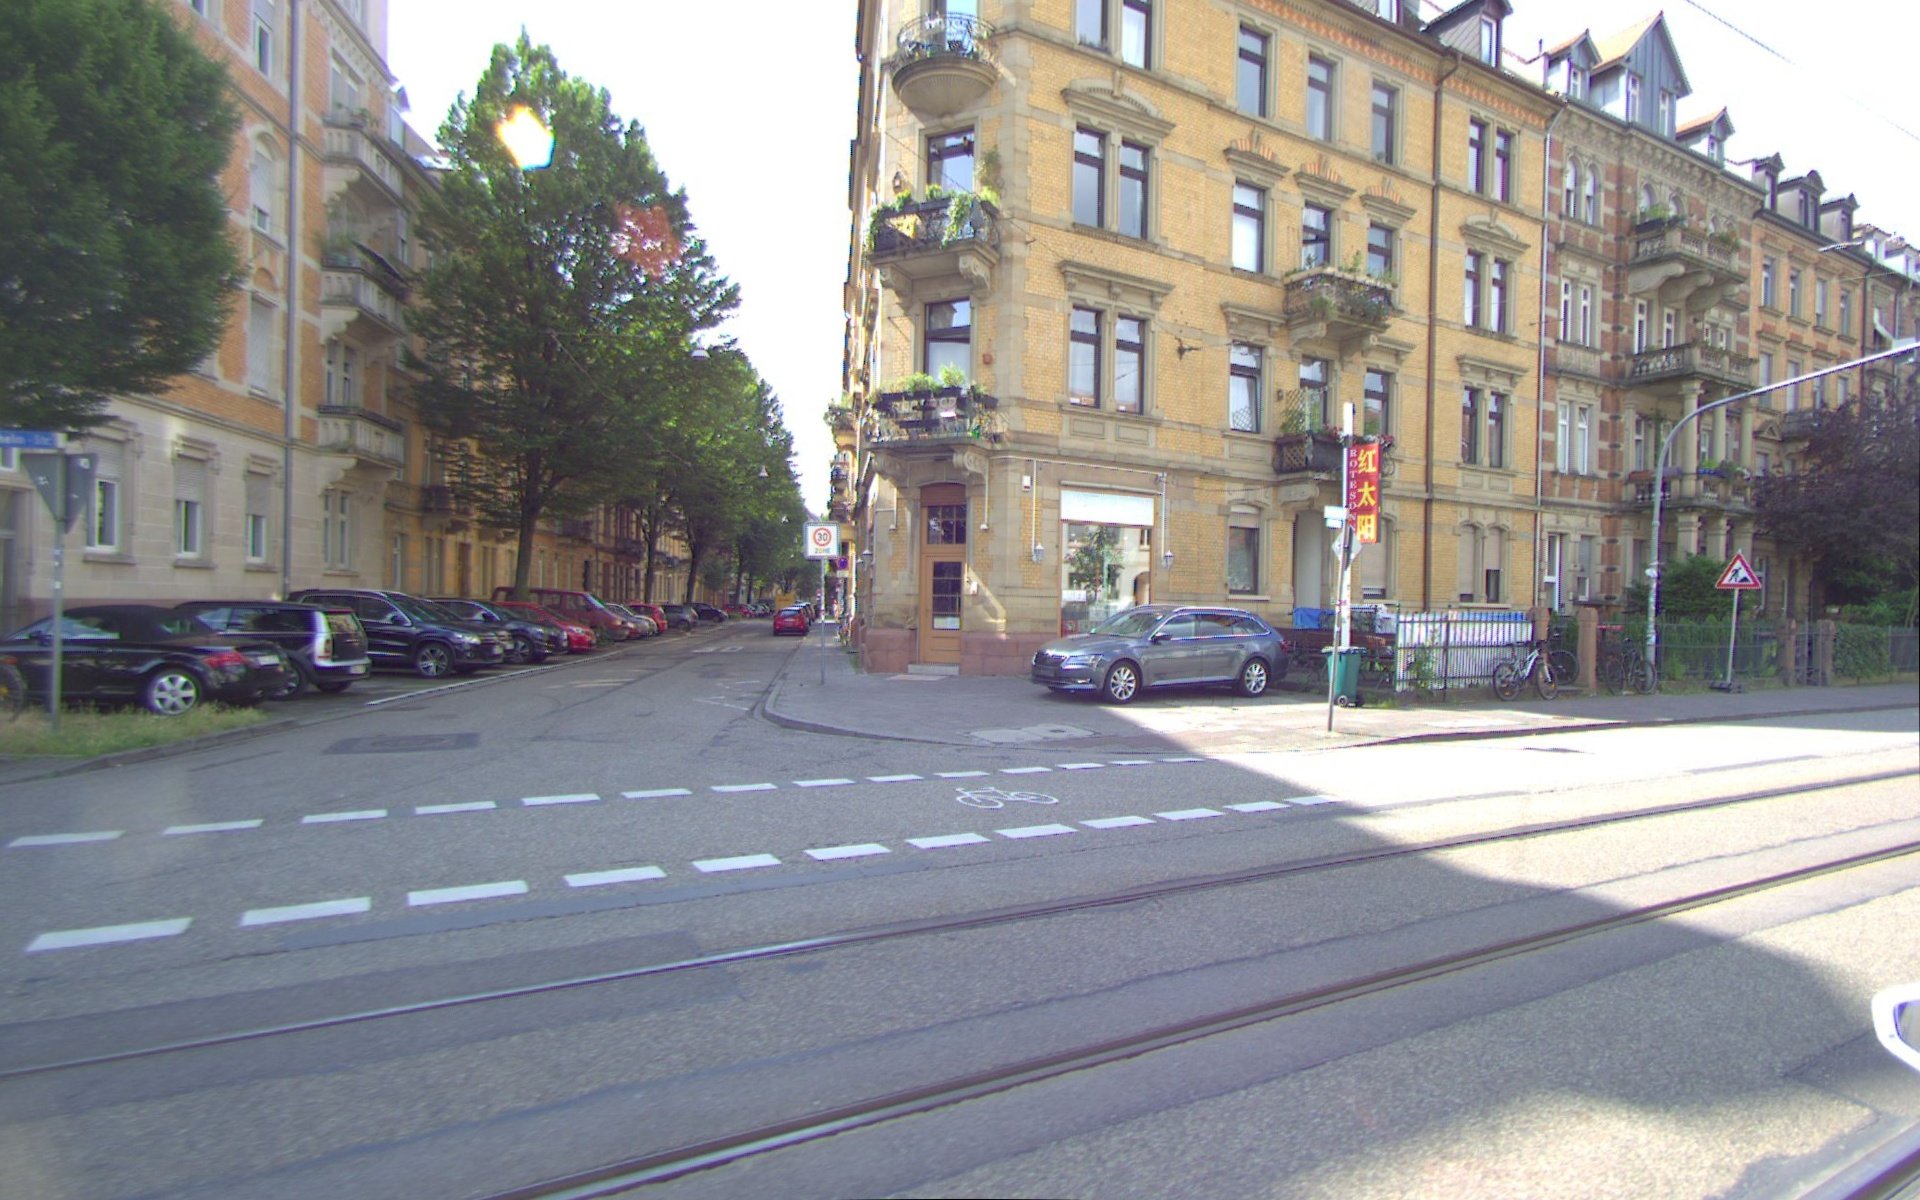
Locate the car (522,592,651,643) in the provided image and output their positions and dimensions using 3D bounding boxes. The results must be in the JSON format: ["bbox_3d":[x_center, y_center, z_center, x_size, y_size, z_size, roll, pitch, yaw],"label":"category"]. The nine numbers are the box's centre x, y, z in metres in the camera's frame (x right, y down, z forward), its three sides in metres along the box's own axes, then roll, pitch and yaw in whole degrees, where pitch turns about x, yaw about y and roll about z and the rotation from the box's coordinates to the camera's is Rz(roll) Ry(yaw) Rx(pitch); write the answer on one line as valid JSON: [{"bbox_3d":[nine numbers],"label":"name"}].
[{"bbox_3d":[-14.816,0.702,40.056,4.429,1.807,1.895,3,-1,-7],"label":"car"}]

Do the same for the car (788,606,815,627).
[{"bbox_3d":[-11.043,1.135,70.323,1.731,1.442,3.995,1,0,-8],"label":"car"}]

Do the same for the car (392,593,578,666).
[{"bbox_3d":[-11.945,0.746,25.472,3.926,1.744,1.618,1,0,-7],"label":"car"}]

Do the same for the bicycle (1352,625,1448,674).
[{"bbox_3d":[9.348,1.033,21.400,0.525,0.959,1.953,1,0,-29],"label":"bicycle"}]

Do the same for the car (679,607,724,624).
[{"bbox_3d":[-19.444,1.133,75.724,3.144,1.220,1.441,1,0,-10],"label":"car"}]

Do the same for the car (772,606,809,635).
[{"bbox_3d":[-8.843,1.063,52.561,1.731,1.442,3.995,1,0,-8],"label":"car"}]

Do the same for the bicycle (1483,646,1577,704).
[{"bbox_3d":[10.042,1.296,17.668,1.945,0.959,0.527,1,0,-30],"label":"bicycle"}]

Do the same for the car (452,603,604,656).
[{"bbox_3d":[-13.087,0.876,30.597,3.926,1.517,1.618,1,0,-7],"label":"car"}]

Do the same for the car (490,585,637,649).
[{"bbox_3d":[-13.803,0.599,35.214,4.429,2.092,1.895,1,0,-7],"label":"car"}]

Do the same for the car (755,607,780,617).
[{"bbox_3d":[-25.049,1.549,130.616,3.144,1.220,1.441,1,0,-10],"label":"car"}]

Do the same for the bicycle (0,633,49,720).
[{"bbox_3d":[-10.399,0.772,10.167,1.670,0.849,0.523,1,0,-17],"label":"bicycle"}]

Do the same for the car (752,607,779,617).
[{"bbox_3d":[-24.306,1.512,125.550,3.144,1.220,1.441,1,0,-10],"label":"car"}]

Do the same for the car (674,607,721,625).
[{"bbox_3d":[-19.065,1.183,72.935,3.144,1.220,1.441,1,0,-10],"label":"car"}]

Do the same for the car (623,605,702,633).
[{"bbox_3d":[-16.179,1.048,54.783,3.926,1.442,1.618,1,0,-7],"label":"car"}]

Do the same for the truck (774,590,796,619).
[{"bbox_3d":[-20.983,0.531,120.257,2.474,3.190,10.446,-1,0,-10],"label":"truck"}]

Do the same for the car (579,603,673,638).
[{"bbox_3d":[-15.654,0.959,47.192,3.926,1.535,1.618,1,0,-7],"label":"car"}]

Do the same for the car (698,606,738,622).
[{"bbox_3d":[-20.240,1.184,84.140,3.144,1.220,1.441,1,0,-10],"label":"car"}]

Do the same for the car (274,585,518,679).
[{"bbox_3d":[-11.255,0.643,20.273,3.926,1.744,1.618,1,0,-7],"label":"car"}]

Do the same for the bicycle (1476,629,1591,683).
[{"bbox_3d":[11.261,1.086,19.788,0.526,0.959,1.949,1,-1,-33],"label":"bicycle"}]

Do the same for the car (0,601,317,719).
[{"bbox_3d":[-10.754,0.733,12.879,3.857,1.378,1.641,1,0,-11],"label":"car"}]

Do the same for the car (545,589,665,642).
[{"bbox_3d":[-14.988,0.642,42.620,4.429,1.998,1.895,3,0,-7],"label":"car"}]

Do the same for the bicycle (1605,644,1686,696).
[{"bbox_3d":[13.552,1.361,19.844,1.945,0.959,0.527,1,0,-30],"label":"bicycle"}]

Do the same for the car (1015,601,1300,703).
[{"bbox_3d":[3.346,0.818,16.689,4.708,1.479,1.677,1,0,-30],"label":"car"}]

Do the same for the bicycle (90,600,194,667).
[{"bbox_3d":[-15.840,0.612,19.518,0.614,1.225,2.176,1,0,-11],"label":"bicycle"}]

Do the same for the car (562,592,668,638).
[{"bbox_3d":[-15.421,0.675,45.089,4.110,1.864,1.895,3,-1,-7],"label":"car"}]

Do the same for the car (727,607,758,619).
[{"bbox_3d":[-23.156,1.340,107.158,3.144,1.220,1.441,1,0,-10],"label":"car"}]

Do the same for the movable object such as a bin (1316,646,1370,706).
[{"bbox_3d":[6.171,1.213,16.186,0.629,0.918,0.522,1,0,-31],"label":"movable object such as a bin"}]

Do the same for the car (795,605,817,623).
[{"bbox_3d":[-12.864,1.135,84.232,1.731,1.442,3.995,1,0,-8],"label":"car"}]

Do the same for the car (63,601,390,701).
[{"bbox_3d":[-11.143,0.760,15.497,3.717,1.434,1.643,1,0,-7],"label":"car"}]
